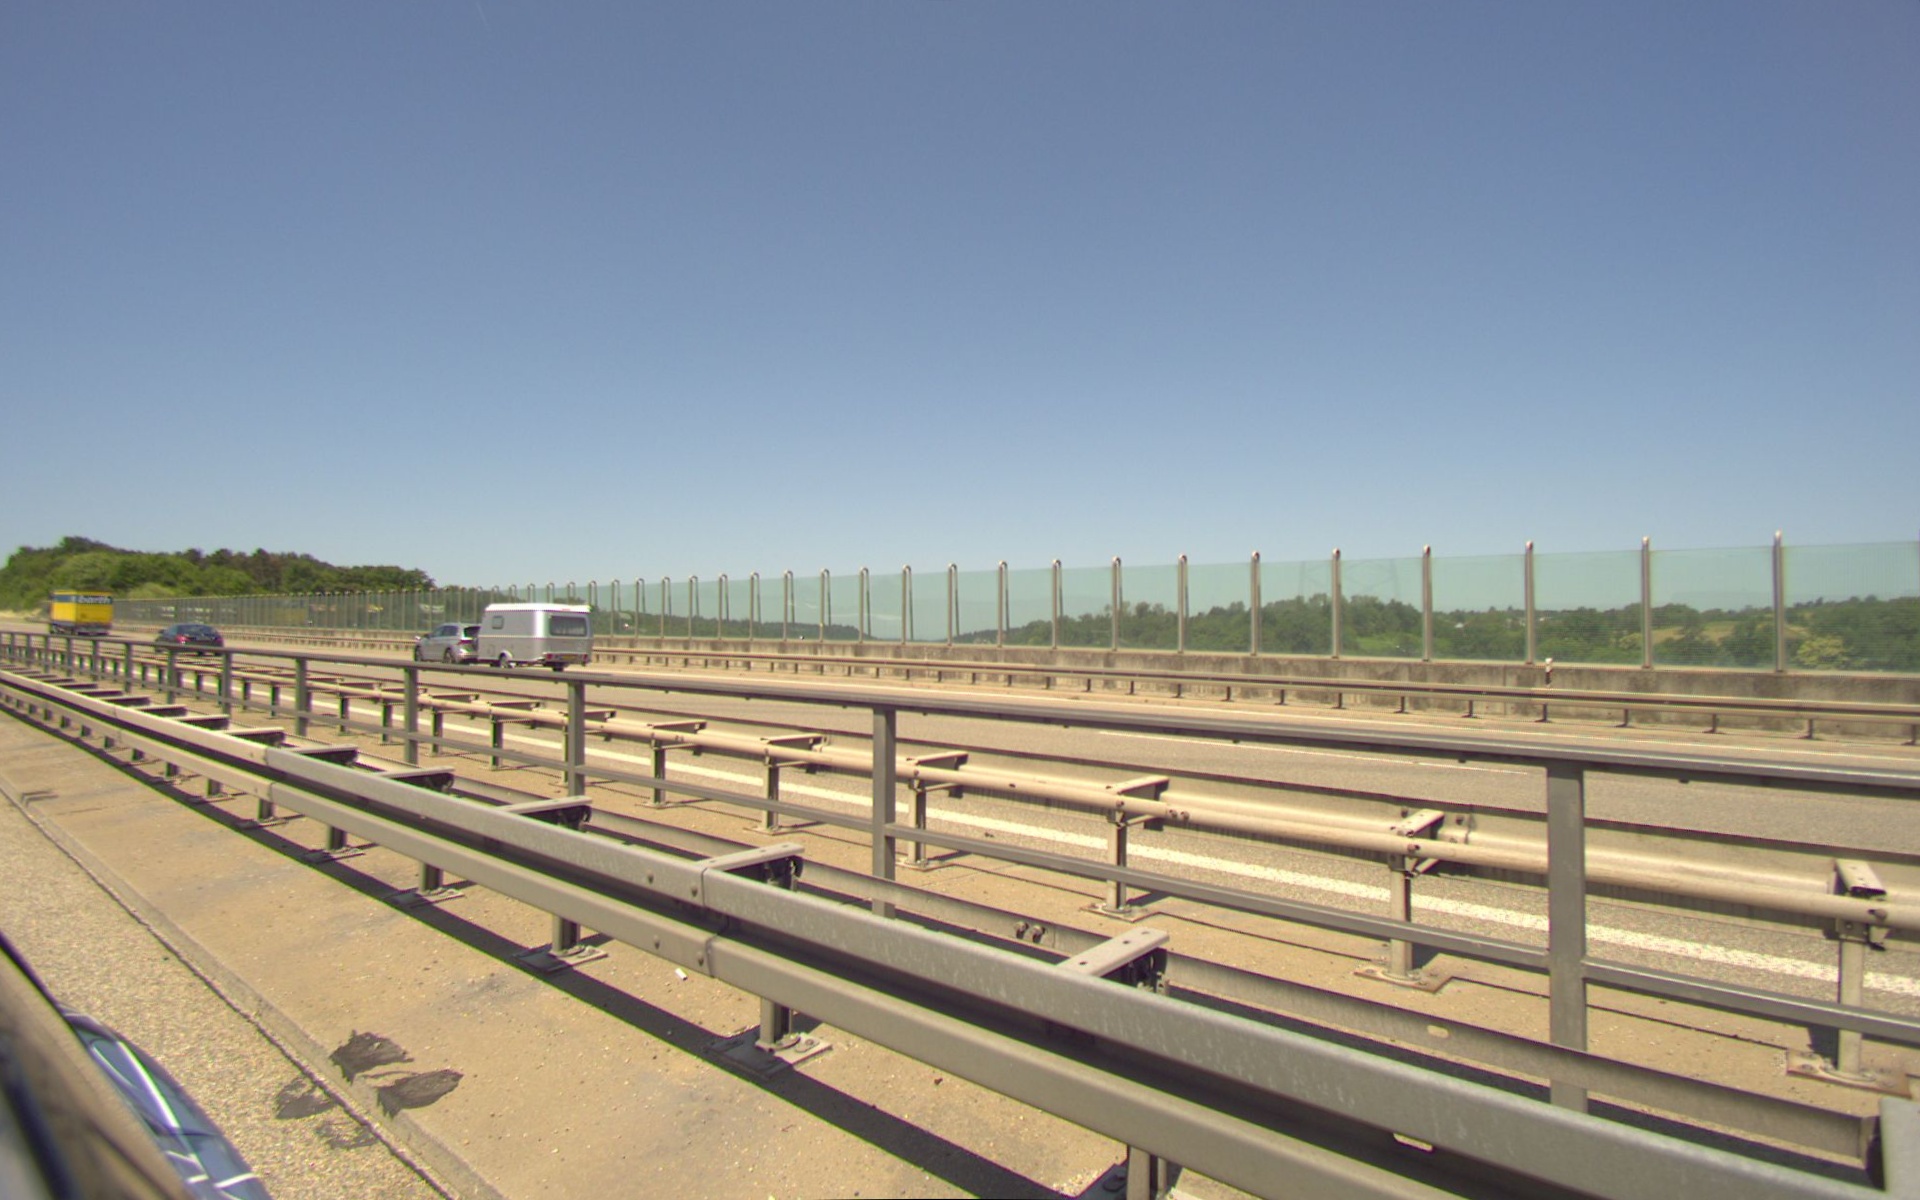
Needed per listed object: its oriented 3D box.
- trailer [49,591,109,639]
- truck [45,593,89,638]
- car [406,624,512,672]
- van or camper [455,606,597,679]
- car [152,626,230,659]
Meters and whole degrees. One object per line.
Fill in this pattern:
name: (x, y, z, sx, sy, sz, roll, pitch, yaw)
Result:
trailer: (-79.962, 1.379, 91.717, 13.798, 4.094, 2.397, -1, -3, 42)
truck: (-85.011, 1.501, 96.273, 5.541, 4.089, 2.389, 0, -3, 42)
car: (-18.095, 1.711, 36.486, 4.197, 1.557, 1.837, 0, -3, 40)
van or camper: (-14.351, 1.357, 33.284, 5.533, 2.228, 1.973, 0, -4, 40)
car: (-34.297, 1.878, 45.091, 4.673, 1.408, 1.836, -1, -3, 41)
